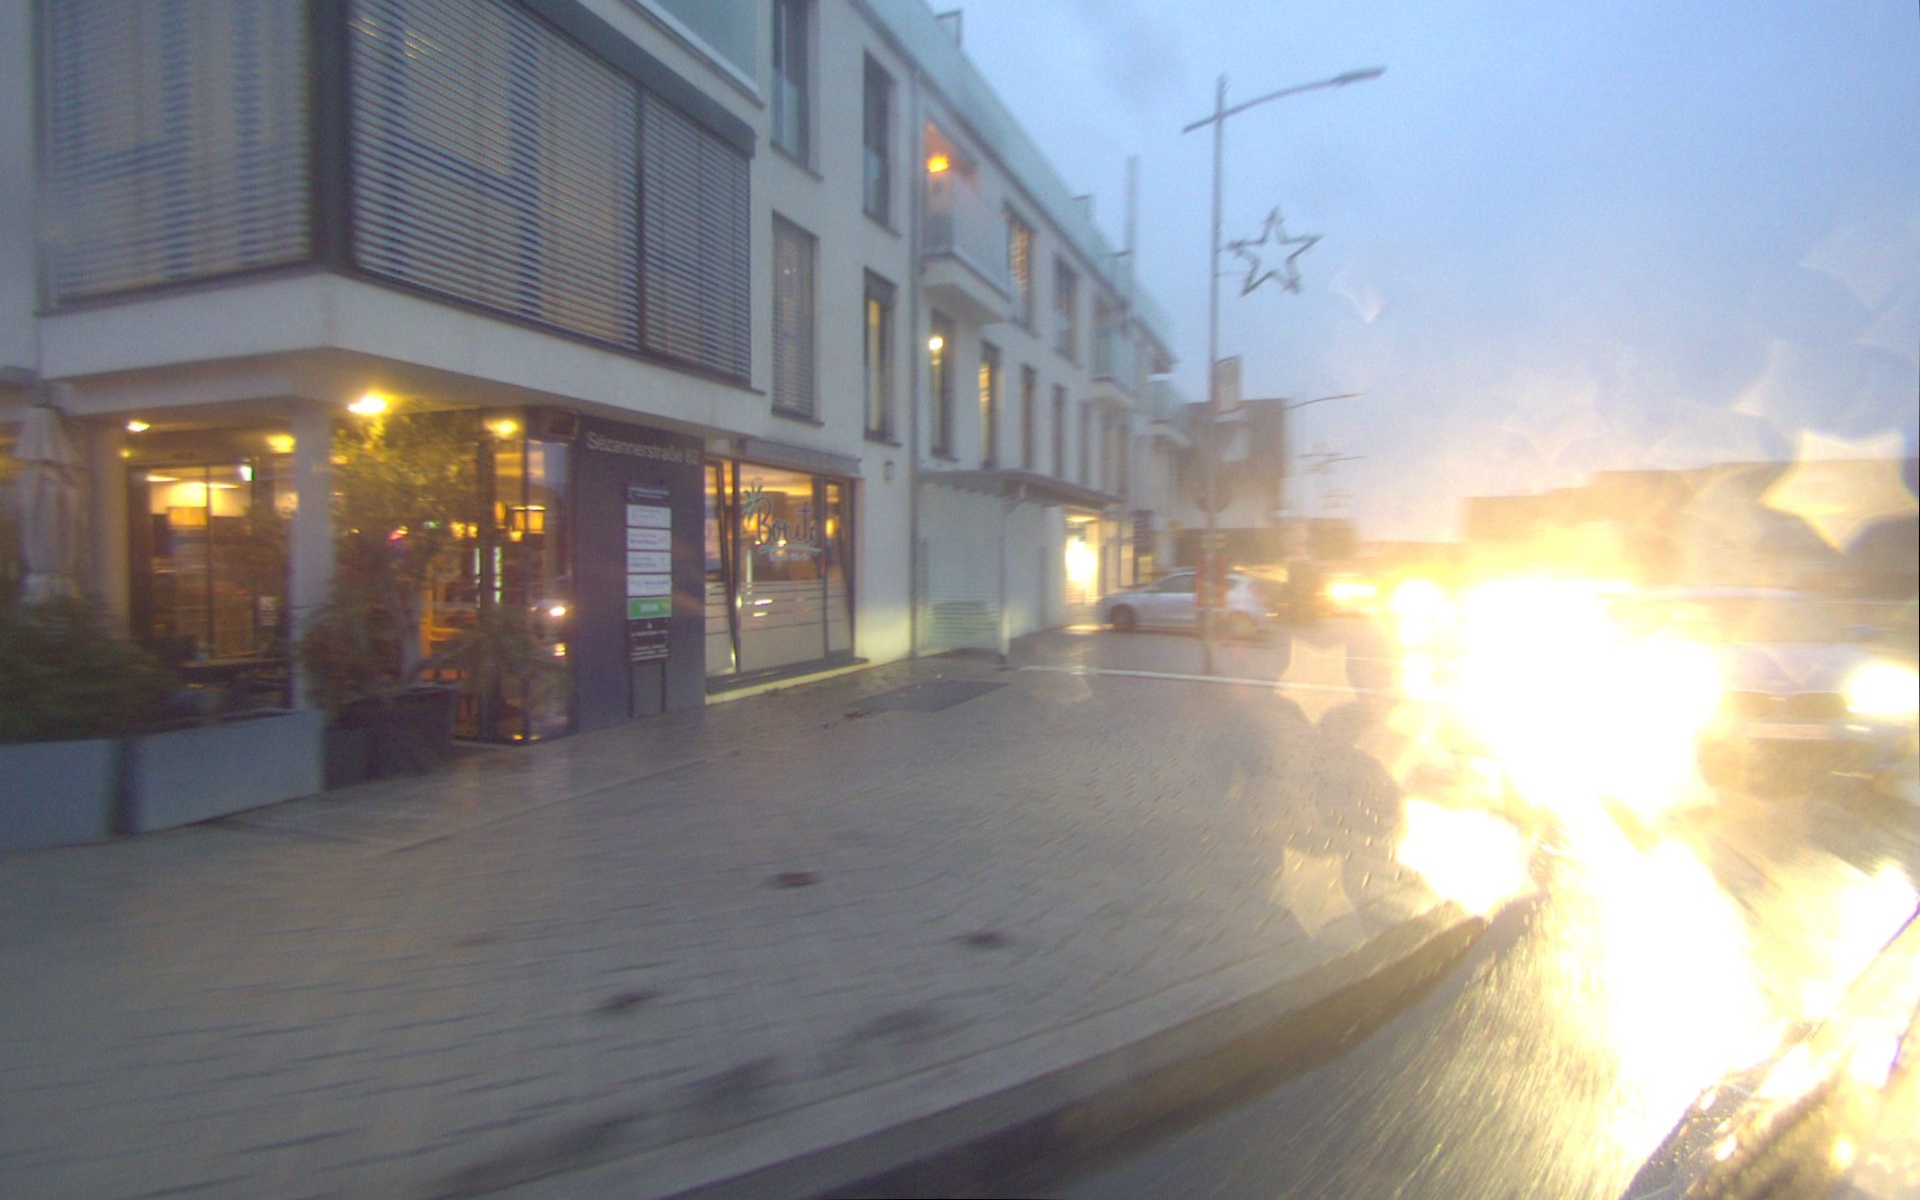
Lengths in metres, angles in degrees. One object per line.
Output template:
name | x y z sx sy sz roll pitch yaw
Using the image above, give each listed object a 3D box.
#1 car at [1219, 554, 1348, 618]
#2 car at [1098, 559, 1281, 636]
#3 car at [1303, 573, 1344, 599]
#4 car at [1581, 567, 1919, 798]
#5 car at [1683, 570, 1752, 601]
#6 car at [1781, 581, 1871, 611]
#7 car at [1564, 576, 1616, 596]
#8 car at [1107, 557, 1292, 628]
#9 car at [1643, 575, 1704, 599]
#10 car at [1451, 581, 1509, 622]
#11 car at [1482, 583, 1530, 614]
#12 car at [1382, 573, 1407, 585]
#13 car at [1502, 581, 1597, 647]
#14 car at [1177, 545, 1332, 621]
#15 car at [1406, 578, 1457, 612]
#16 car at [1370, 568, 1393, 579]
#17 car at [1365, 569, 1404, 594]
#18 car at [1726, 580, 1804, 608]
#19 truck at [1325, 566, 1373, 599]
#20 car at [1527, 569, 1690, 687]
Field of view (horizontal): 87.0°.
car | 11.424 -0.524 35.989 4.098 1.654 1.746 9 3 16
car | 5.334 -0.113 23.601 3.943 1.521 1.806 3 3 15
car | 24.153 -0.936 67.357 1.818 1.606 3.761 1 1 8
car | 6.893 0.551 9.122 1.871 1.599 3.963 -1 0 27
car | 48.034 -0.962 64.287 1.772 1.849 4.244 1 2 11
car | 46.152 -0.253 54.065 1.772 1.487 4.244 1 2 11
car | 50.813 -1.143 81.704 1.769 1.487 4.608 1 2 7
car | 6.295 -0.241 26.589 4.468 1.510 1.962 4 3 21
car | 49.039 -0.899 69.664 1.648 1.487 4.010 3 1 7
car | 19.773 0.027 38.604 1.723 1.461 3.969 0 1 24
car | 27.070 -0.079 50.252 1.488 1.428 3.348 0 2 17
car | 55.852 -2.745 130.087 1.769 1.487 4.251 1 2 6
car | 14.404 0.294 24.888 1.555 1.487 3.588 -1 1 23
car | 9.491 -0.582 32.626 4.503 1.957 1.961 6 3 22
car | 22.639 -0.245 48.662 1.811 1.563 3.692 0 1 19
car | 56.373 -3.541 135.319 1.769 1.487 4.250 1 2 7
car | 36.211 -1.583 86.444 1.965 2.038 3.995 0 1 6
car | 47.118 -0.385 59.343 1.772 1.487 4.244 1 2 11
truck | 27.931 -1.289 72.899 2.213 2.258 6.085 0 1 11
car | 10.355 0.372 16.429 1.665 1.644 3.966 1 1 25
